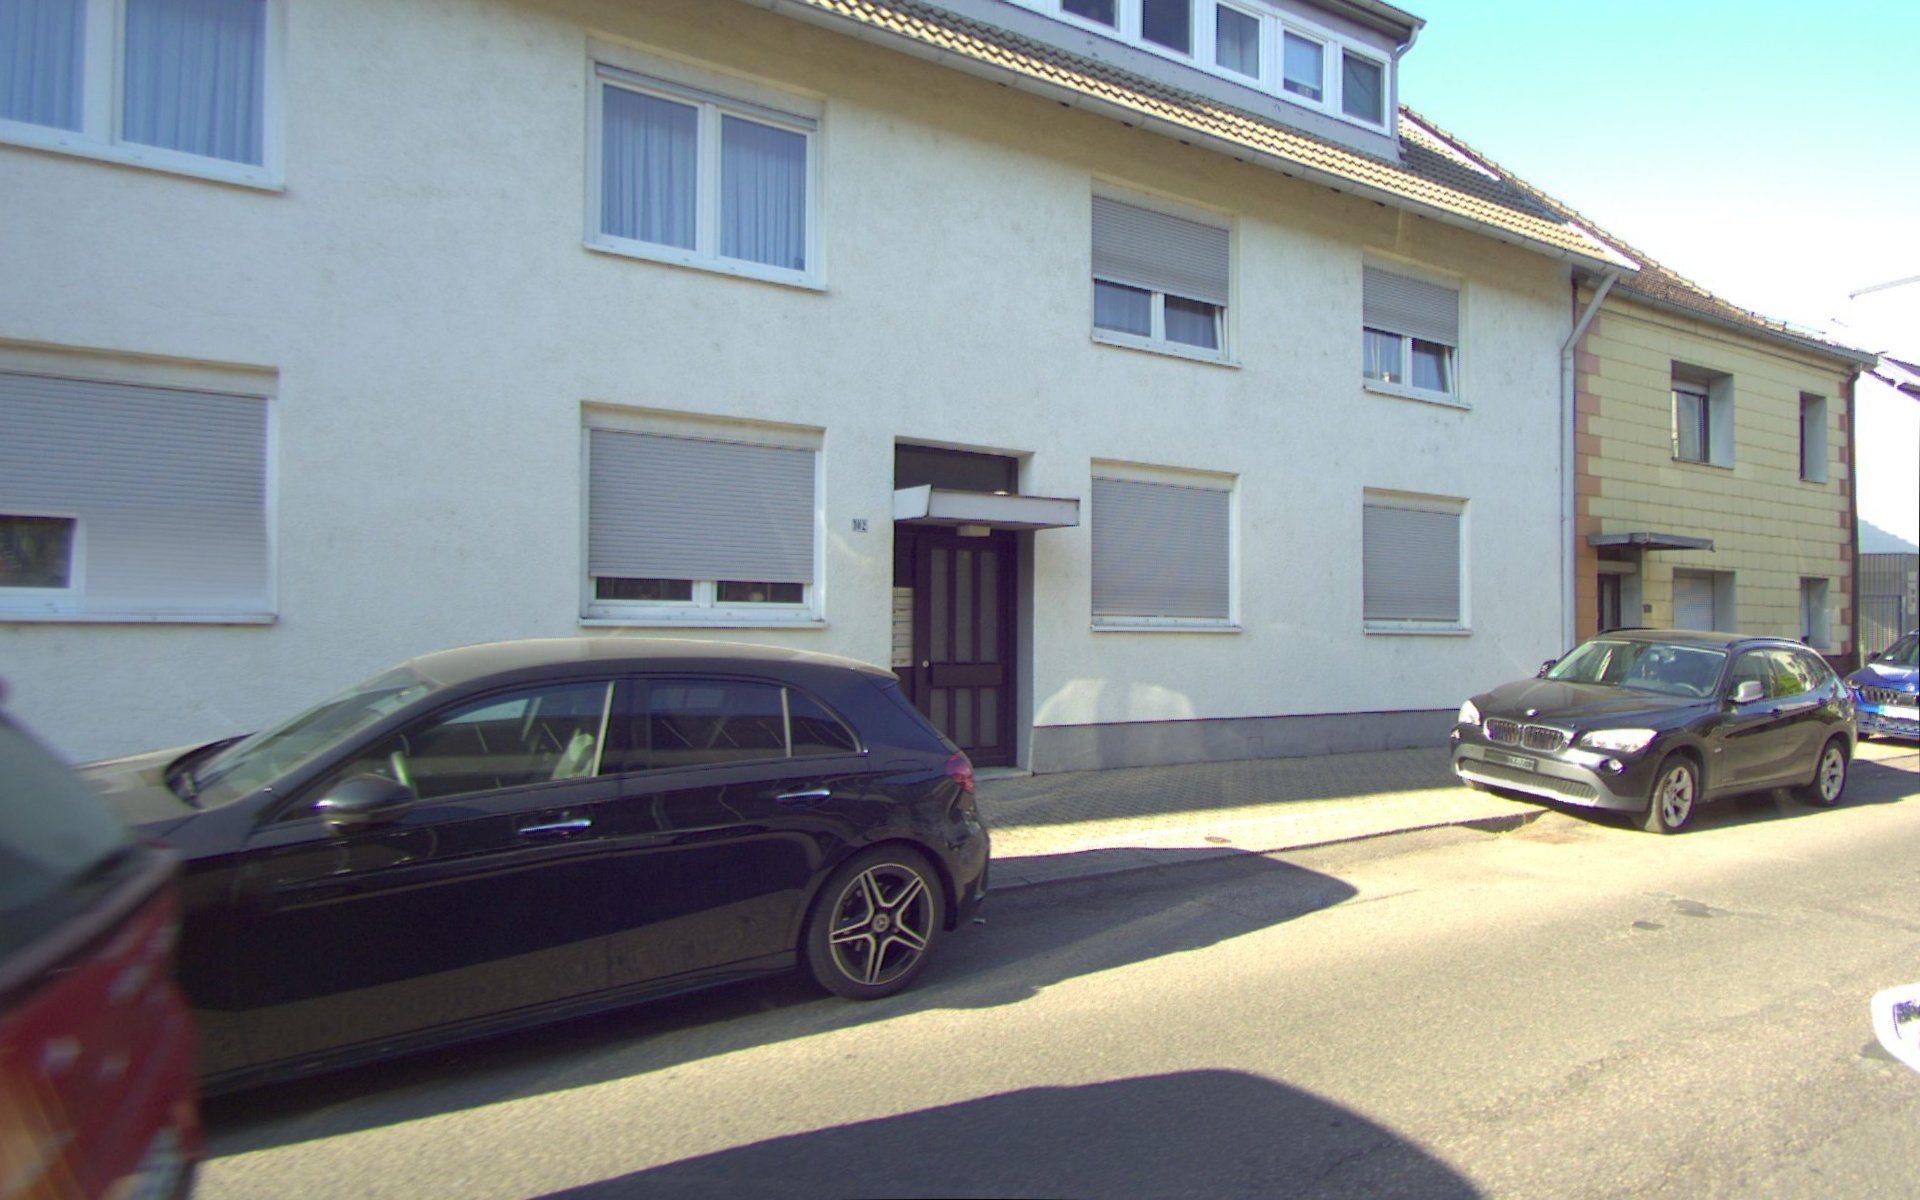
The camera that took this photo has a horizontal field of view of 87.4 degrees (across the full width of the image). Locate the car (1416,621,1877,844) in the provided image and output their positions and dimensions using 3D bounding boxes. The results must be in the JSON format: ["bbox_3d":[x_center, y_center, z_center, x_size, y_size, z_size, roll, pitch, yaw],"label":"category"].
[{"bbox_3d":[6.434,1.024,9.331,4.283,1.608,1.849,0,0,-29],"label":"car"}]

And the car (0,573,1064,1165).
[{"bbox_3d":[-1.767,0.754,4.156,4.289,1.555,1.674,2,-1,-34],"label":"car"}]

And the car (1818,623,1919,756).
[{"bbox_3d":[13.796,1.151,13.803,4.143,1.608,1.800,0,0,-30],"label":"car"}]

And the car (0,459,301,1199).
[{"bbox_3d":[-3.070,0.619,0.830,4.097,1.510,1.833,1,-4,-31],"label":"car"}]
